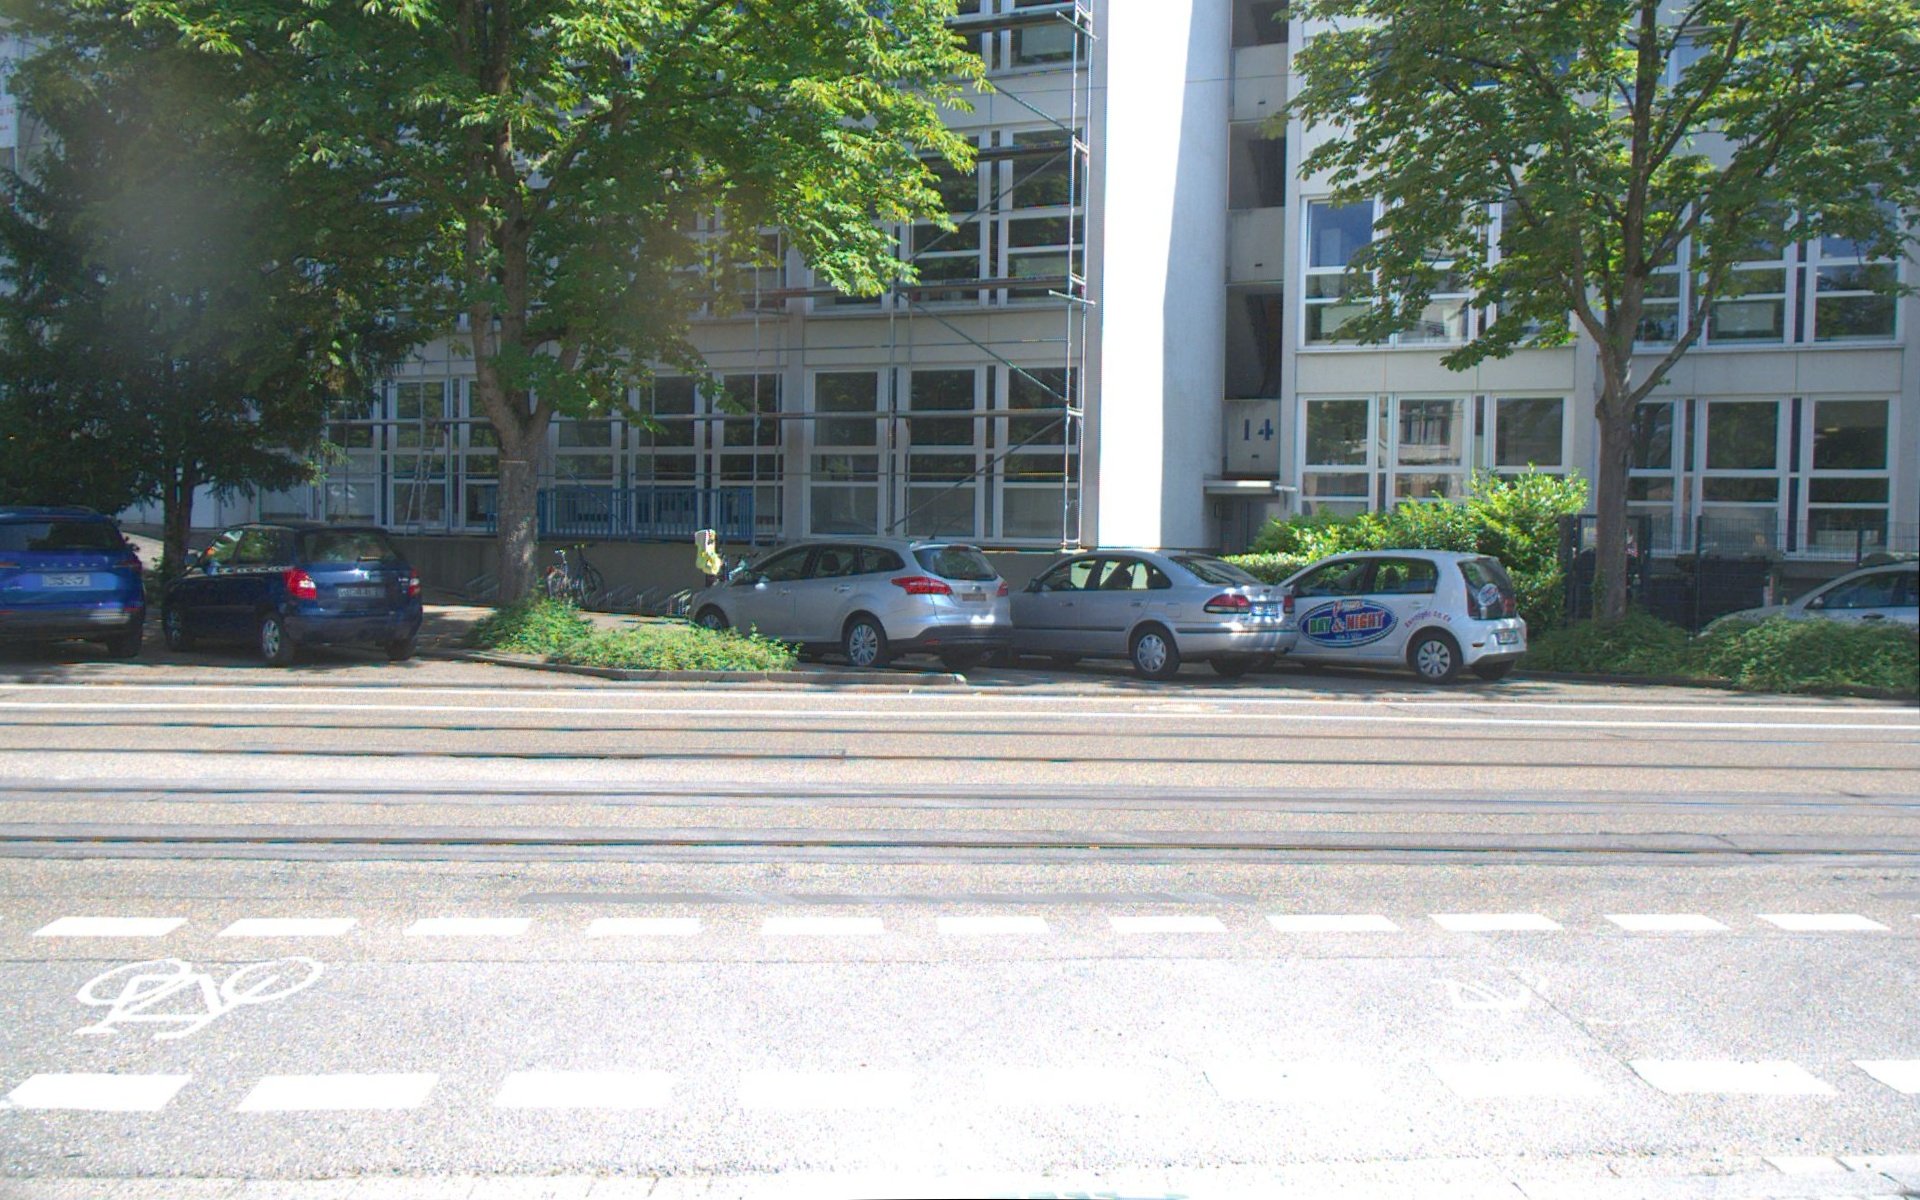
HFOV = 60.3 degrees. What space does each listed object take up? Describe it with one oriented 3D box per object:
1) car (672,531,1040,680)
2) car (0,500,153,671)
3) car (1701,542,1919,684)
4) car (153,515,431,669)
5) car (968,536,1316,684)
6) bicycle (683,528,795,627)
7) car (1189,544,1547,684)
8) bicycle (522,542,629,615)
[{"bbox_3d":[-1.311,-0.017,19.399,4.356,1.511,1.774,3,3,42],"label":"car"},{"bbox_3d":[-10.536,-0.246,18.345,1.767,1.650,3.883,-2,5,-44],"label":"car"},{"bbox_3d":[11.464,0.151,20.059,4.262,1.632,1.551,2,2,39],"label":"car"},{"bbox_3d":[-7.530,-0.150,18.537,3.396,1.557,1.567,3,3,42],"label":"car"},{"bbox_3d":[2.045,0.043,19.335,3.878,1.511,1.602,3,3,44],"label":"car"},{"bbox_3d":[-3.428,-0.369,25.830,0.648,1.478,2.088,2,2,27],"label":"bicycle"},{"bbox_3d":[4.784,0.097,19.728,3.876,1.512,1.603,1,2,43],"label":"car"},{"bbox_3d":[-6.148,-0.369,26.586,0.725,1.104,2.205,1,2,15],"label":"bicycle"}]
